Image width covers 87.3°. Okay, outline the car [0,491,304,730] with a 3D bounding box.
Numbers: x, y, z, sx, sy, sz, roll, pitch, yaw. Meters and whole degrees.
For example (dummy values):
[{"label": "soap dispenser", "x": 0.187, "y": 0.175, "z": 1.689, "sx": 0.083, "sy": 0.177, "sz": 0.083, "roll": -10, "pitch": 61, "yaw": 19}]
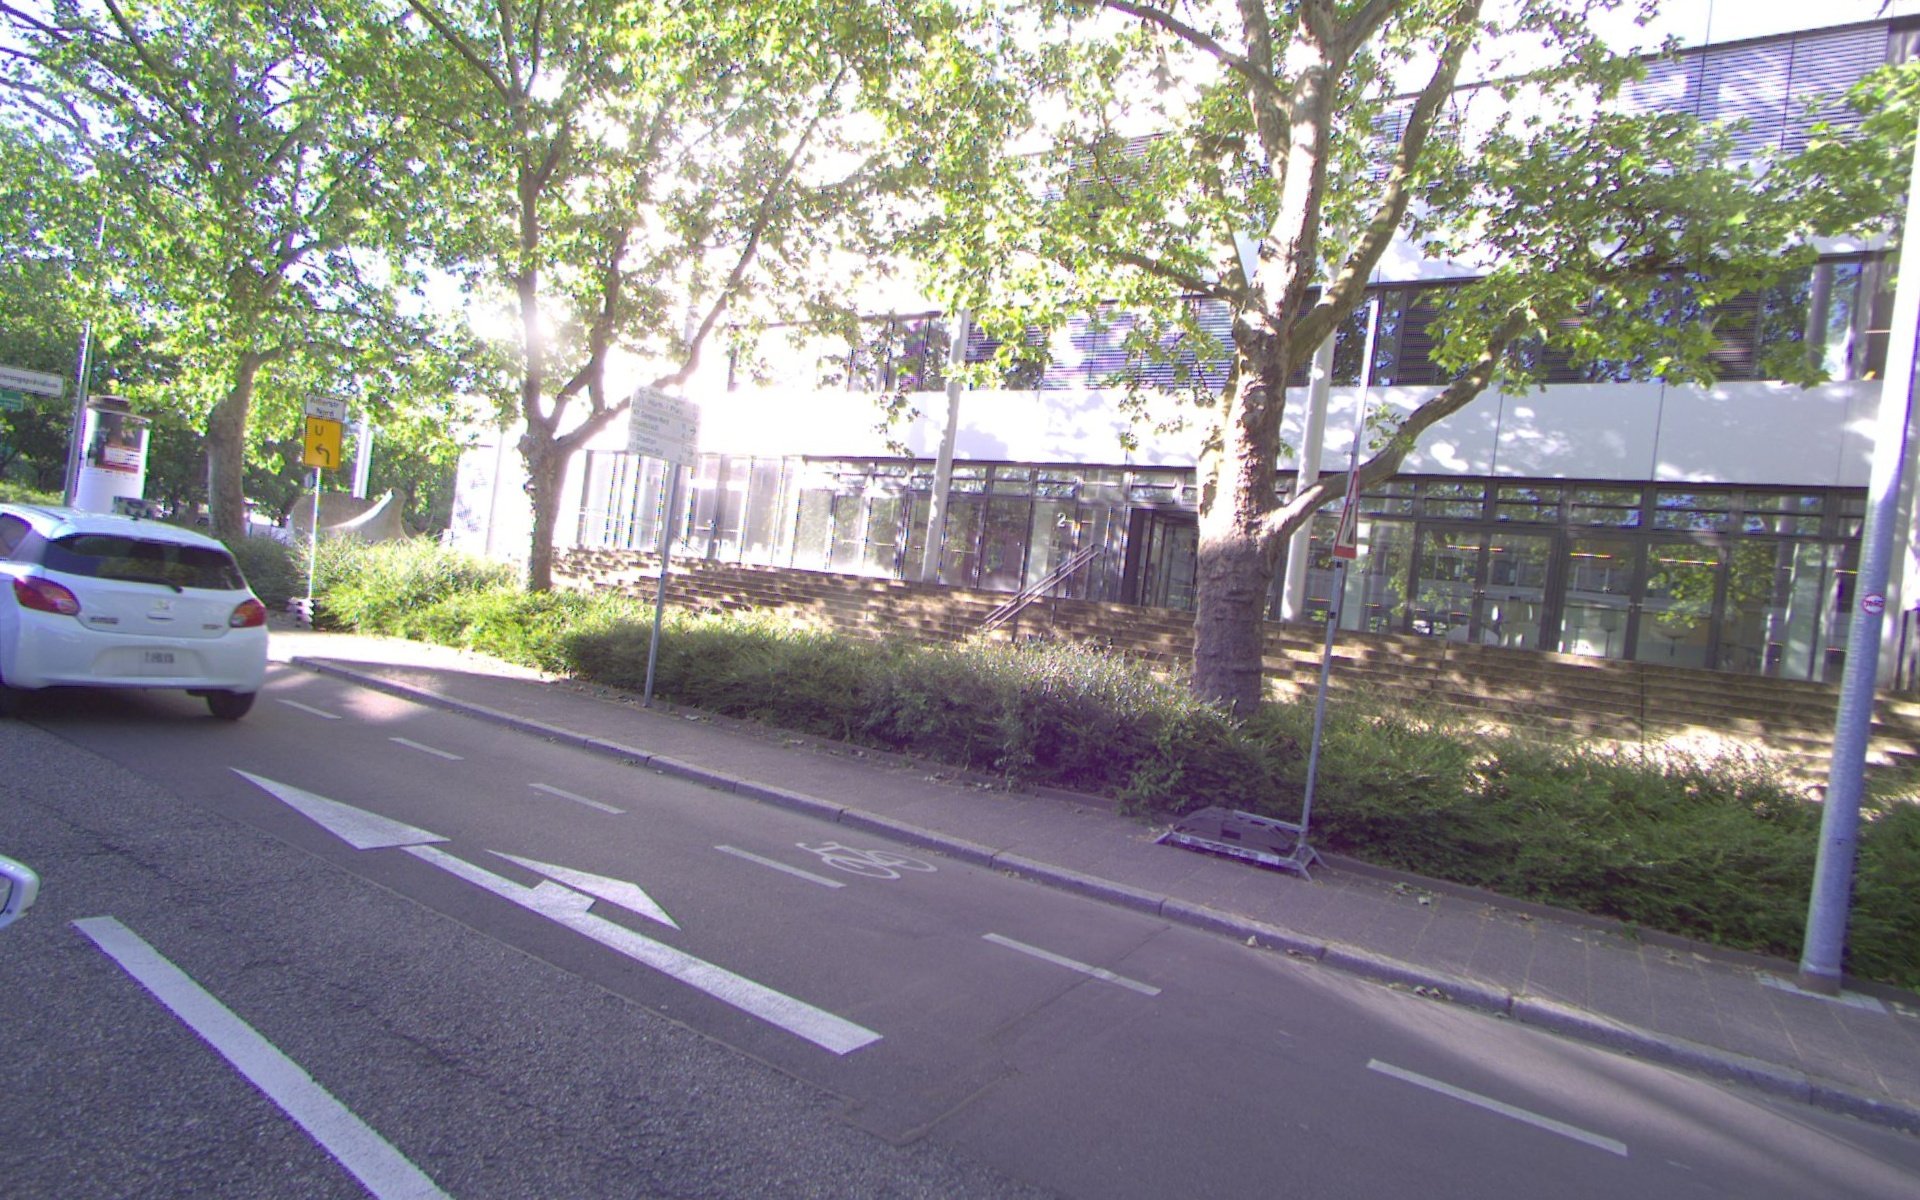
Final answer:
[{"label": "car", "x": -7.187, "y": -0.004, "z": 8.118, "sx": 3.625, "sy": 1.515, "sz": 1.683, "roll": 6, "pitch": -3, "yaw": 32}]
